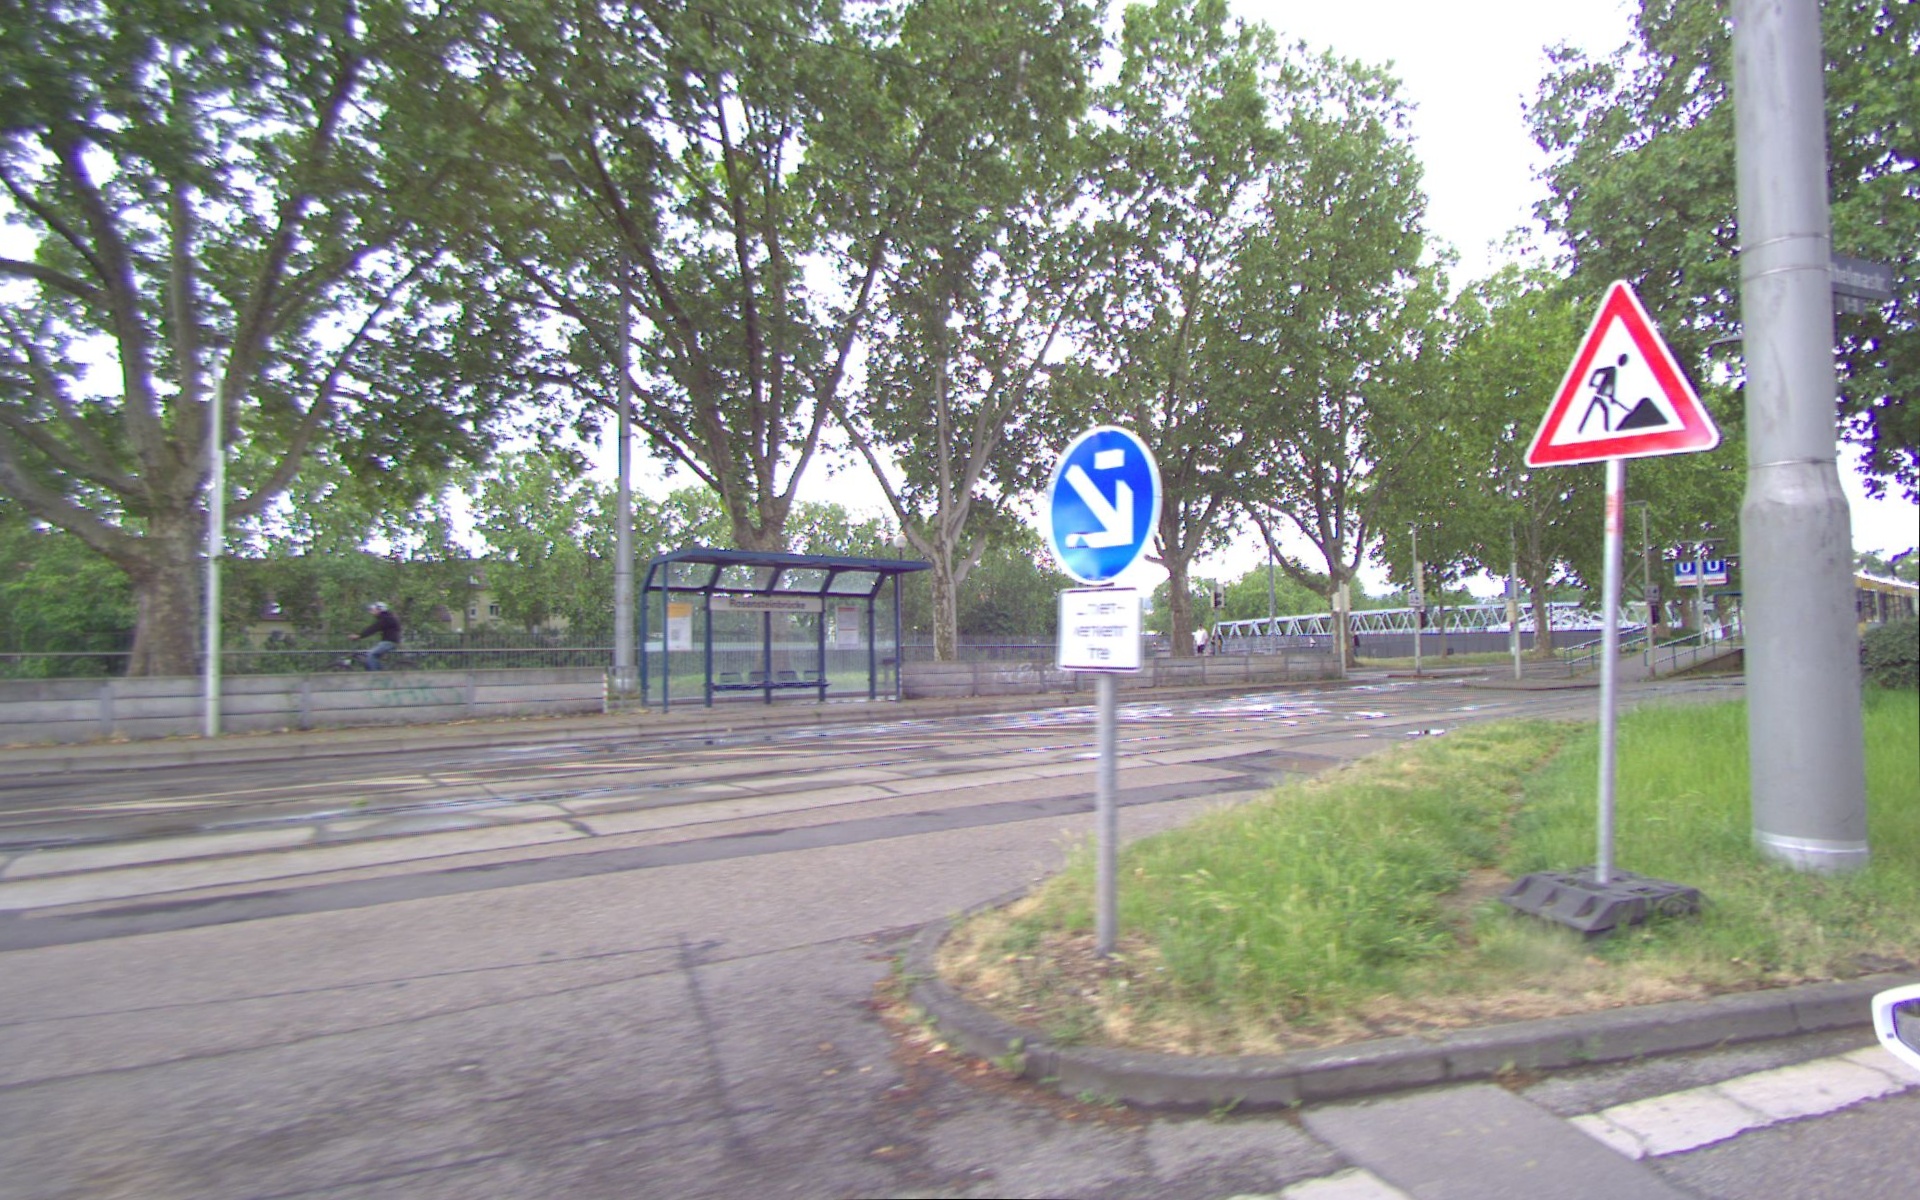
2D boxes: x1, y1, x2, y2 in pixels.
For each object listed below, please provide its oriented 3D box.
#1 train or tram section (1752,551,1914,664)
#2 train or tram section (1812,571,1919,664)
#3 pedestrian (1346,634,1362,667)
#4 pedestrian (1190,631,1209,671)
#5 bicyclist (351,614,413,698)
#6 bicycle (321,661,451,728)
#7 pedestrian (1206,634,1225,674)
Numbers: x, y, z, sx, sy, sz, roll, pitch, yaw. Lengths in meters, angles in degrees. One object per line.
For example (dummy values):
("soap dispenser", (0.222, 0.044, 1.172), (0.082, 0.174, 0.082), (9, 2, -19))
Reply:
("train or tram section", (33.141, 0.446, 37.897), (10.917, 3.720, 2.891), (3, -1, -40))
("train or tram section", (41.354, 0.909, 45.082), (10.917, 3.720, 2.891), (3, -1, -40))
("pedestrian", (20.238, 2.606, 51.625), (0.654, 1.644, 0.534), (2, -1, 28))
("pedestrian", (10.192, 2.163, 42.716), (0.530, 1.644, 0.496), (3, -1, -41))
("bicyclist", (-11.959, 1.152, 20.794), (0.999, 1.672, 0.636), (3, -1, -37))
("bicycle", (-11.914, 1.943, 20.887), (2.243, 1.295, 0.684), (3, -1, -37))
("pedestrian", (10.703, 2.242, 42.044), (0.530, 1.644, 0.496), (3, -1, -41))
